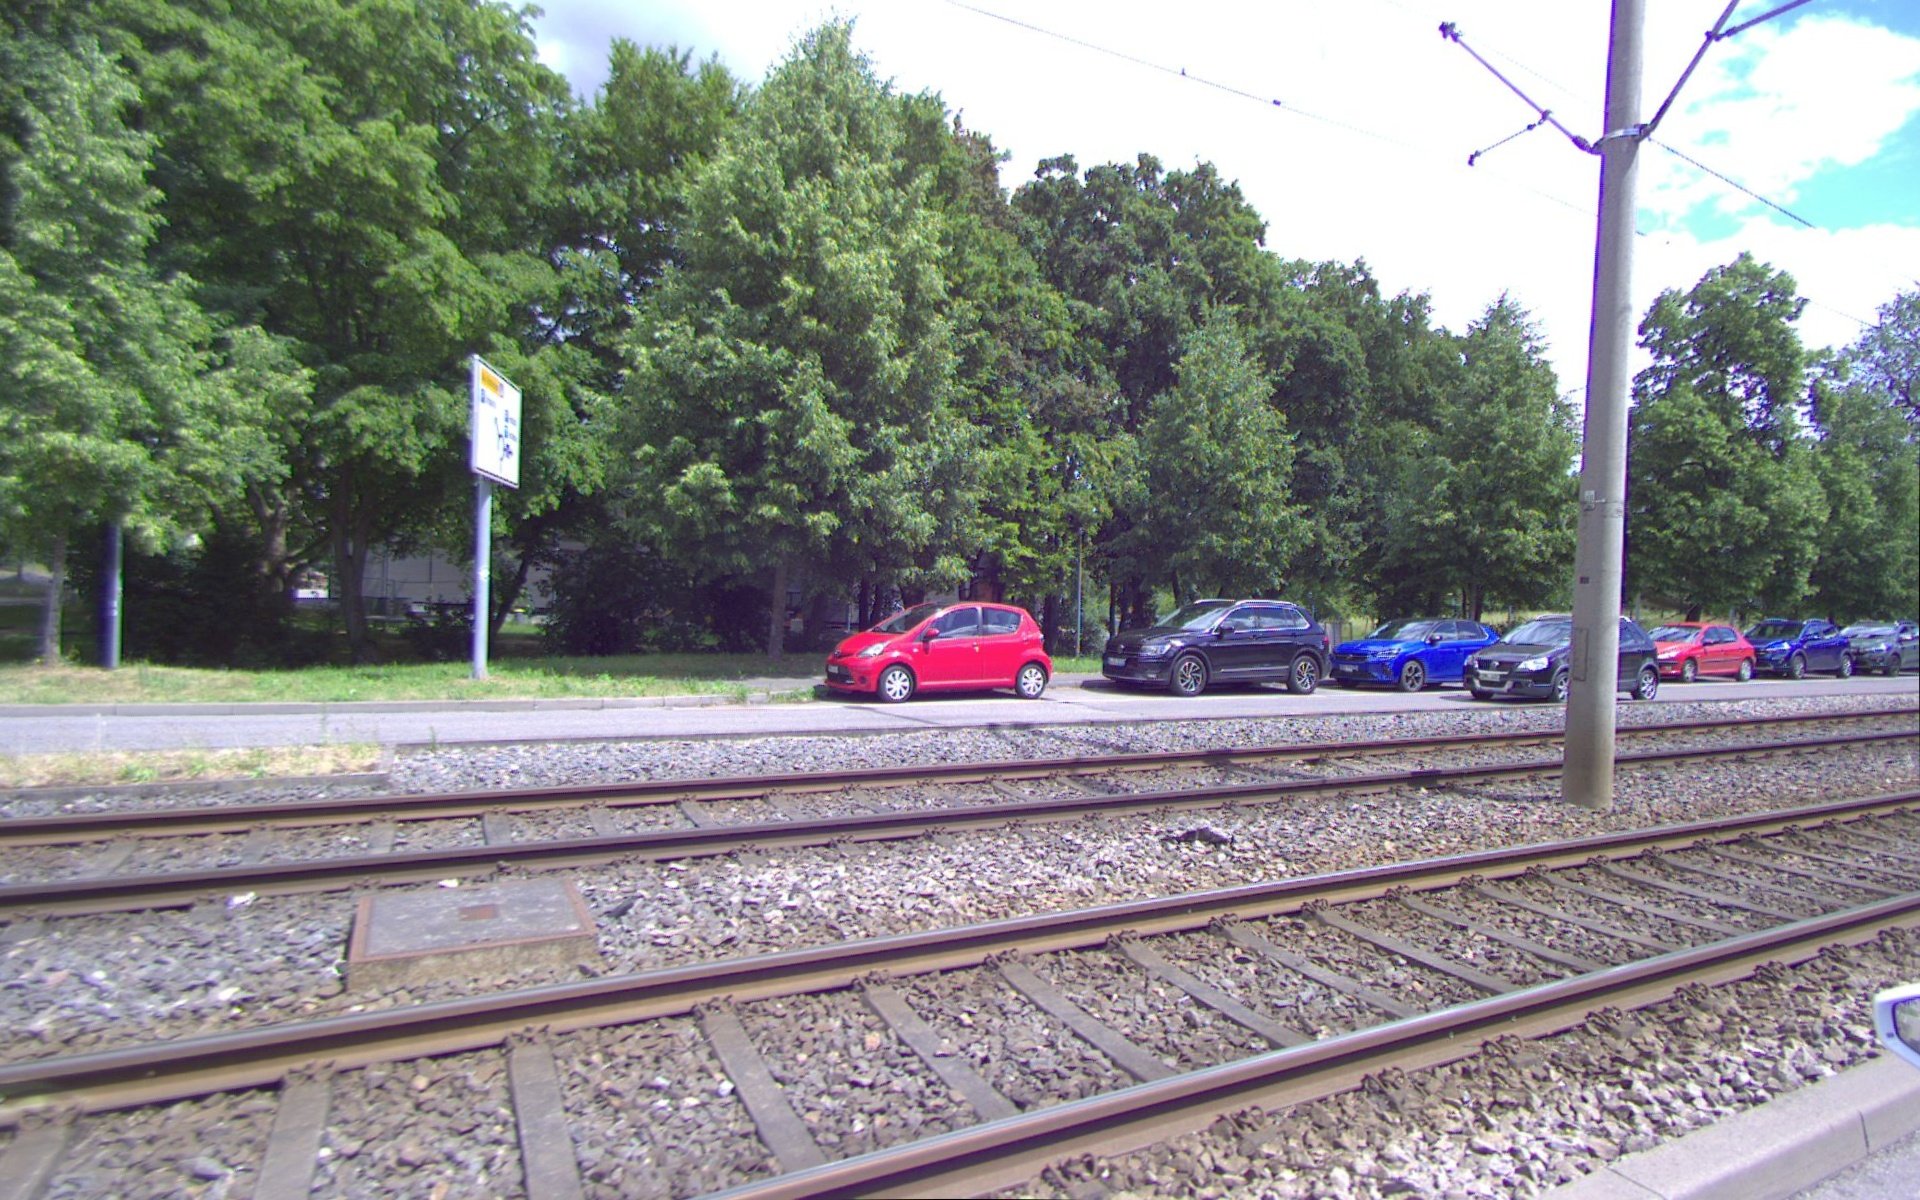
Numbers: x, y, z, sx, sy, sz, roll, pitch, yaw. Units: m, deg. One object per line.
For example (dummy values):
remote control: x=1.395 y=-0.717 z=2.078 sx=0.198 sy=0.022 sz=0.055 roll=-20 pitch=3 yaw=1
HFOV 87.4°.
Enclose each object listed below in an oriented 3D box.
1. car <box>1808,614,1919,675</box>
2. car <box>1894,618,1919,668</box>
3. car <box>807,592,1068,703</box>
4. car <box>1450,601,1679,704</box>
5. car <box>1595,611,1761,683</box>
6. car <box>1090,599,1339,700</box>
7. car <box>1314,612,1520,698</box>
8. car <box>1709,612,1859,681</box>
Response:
car: x=26.996 y=1.300 z=29.581 sx=4.072 sy=1.644 sz=1.636 roll=2 pitch=0 yaw=-27
car: x=31.990 y=1.427 z=32.313 sx=4.141 sy=1.514 sz=1.586 roll=2 pitch=2 yaw=-29
car: x=-0.321 y=0.734 z=15.434 sx=3.619 sy=1.471 sz=1.605 roll=3 pitch=1 yaw=-30
car: x=10.796 y=0.941 z=17.905 sx=3.950 sy=1.595 sz=1.607 roll=3 pitch=1 yaw=-28
car: x=17.778 y=1.174 z=24.854 sx=3.996 sy=1.513 sz=1.607 roll=3 pitch=1 yaw=-27
car: x=4.552 y=0.841 z=17.825 sx=4.318 sy=1.627 sz=1.574 roll=1 pitch=0 yaw=-27
car: x=9.226 y=1.114 z=20.231 sx=3.956 sy=1.480 sz=1.607 roll=3 pitch=1 yaw=-27
car: x=22.305 y=1.263 z=27.180 sx=4.107 sy=1.617 sz=1.551 roll=3 pitch=1 yaw=-27
